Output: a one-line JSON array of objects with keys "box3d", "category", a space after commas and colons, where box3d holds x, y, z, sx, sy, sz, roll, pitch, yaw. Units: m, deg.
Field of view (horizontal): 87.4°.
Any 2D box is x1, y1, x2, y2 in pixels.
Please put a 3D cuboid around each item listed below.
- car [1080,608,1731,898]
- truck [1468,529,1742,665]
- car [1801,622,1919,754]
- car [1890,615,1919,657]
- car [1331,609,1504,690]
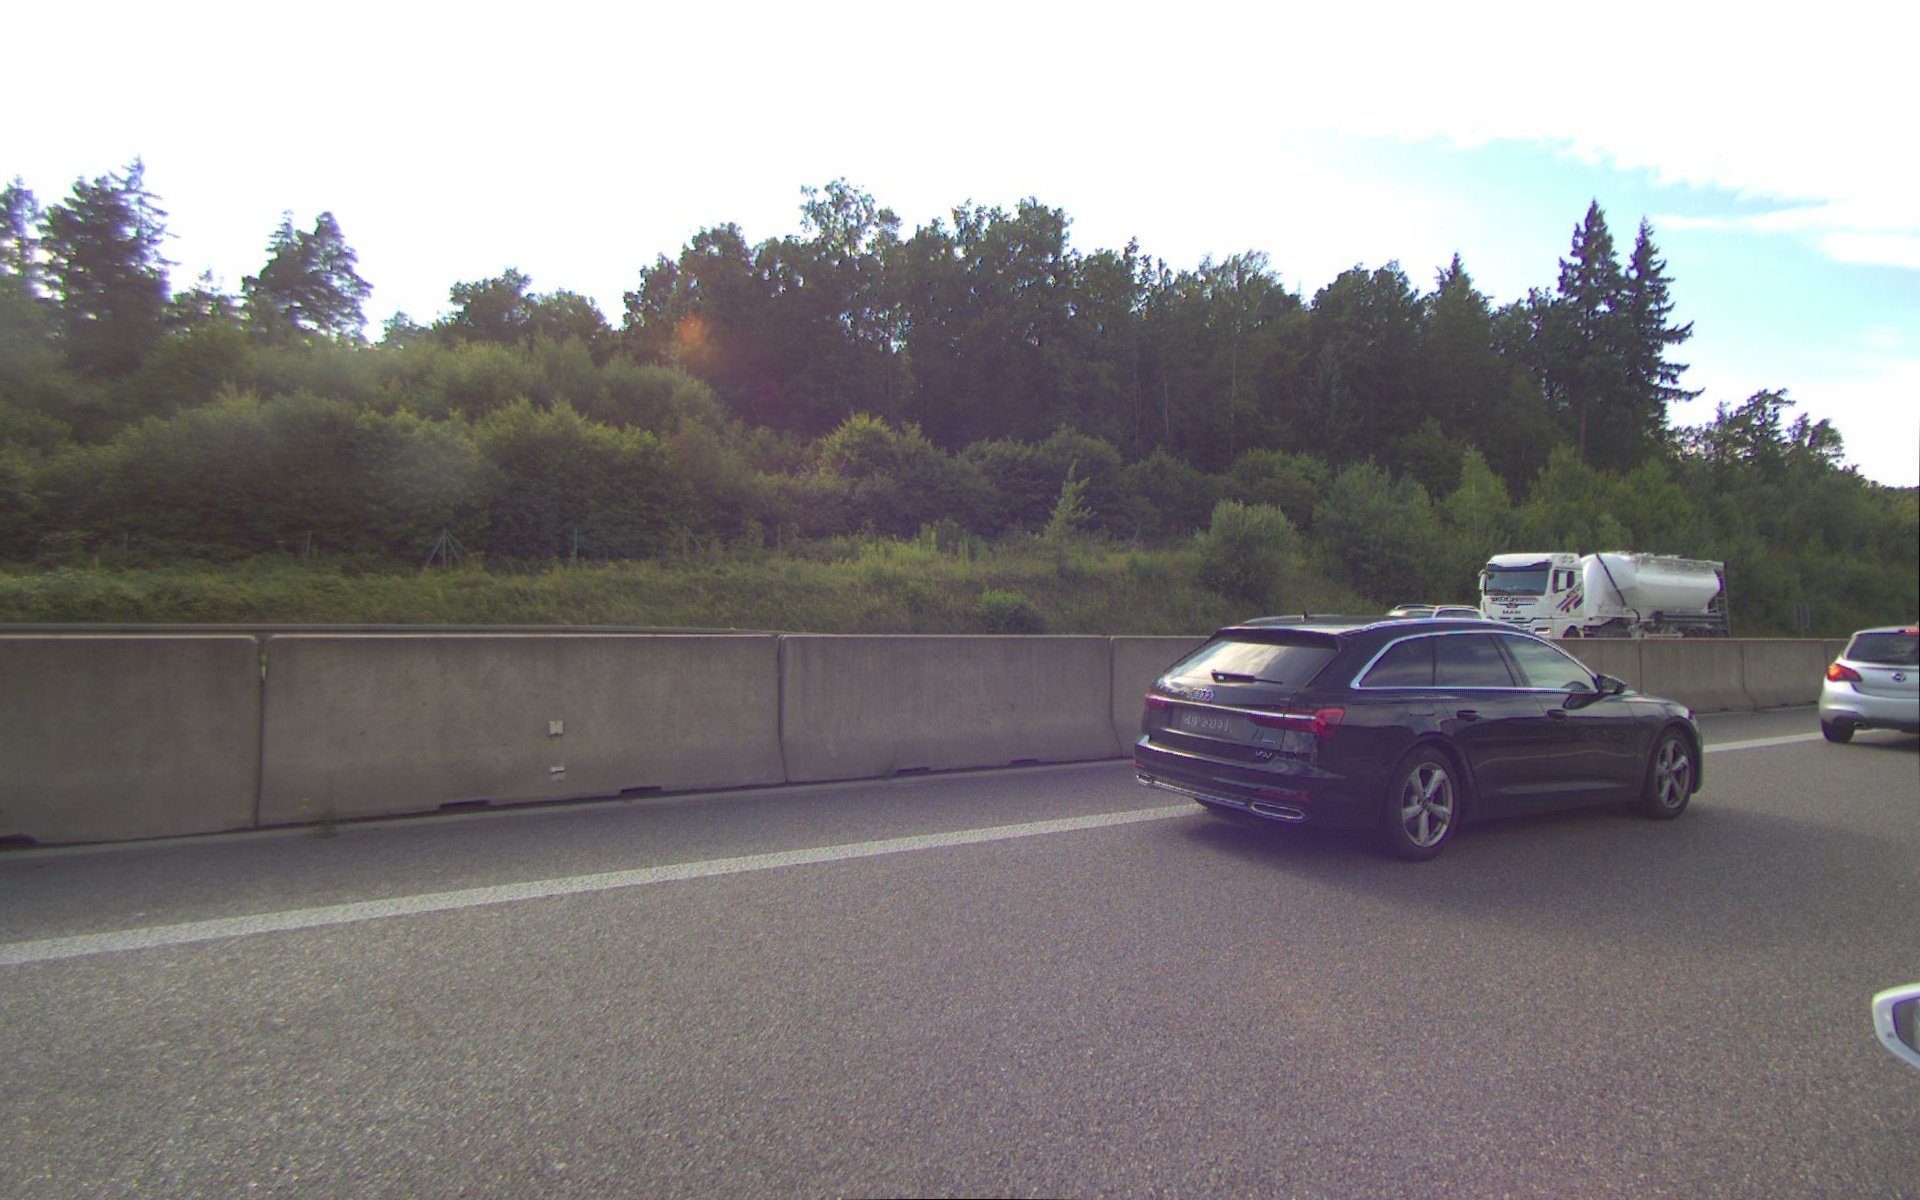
[{"box3d": [3.364, 0.859, 7.303, 4.794, 1.491, 1.873, 1, 0, -30], "category": "car"}, {"box3d": [24.375, 0.070, 37.423, 13.756, 4.412, 2.916, 2, 0, -32], "category": "truck"}, {"box3d": [12.507, 1.042, 12.671, 3.994, 1.485, 1.738, 1, -1, -31], "category": "car"}, {"box3d": [41.743, 1.544, 42.923, 4.275, 1.735, 1.842, 1, 0, -32], "category": "car"}, {"box3d": [11.460, 1.191, 25.100, 4.275, 1.834, 1.842, 1, 0, -32], "category": "car"}]
